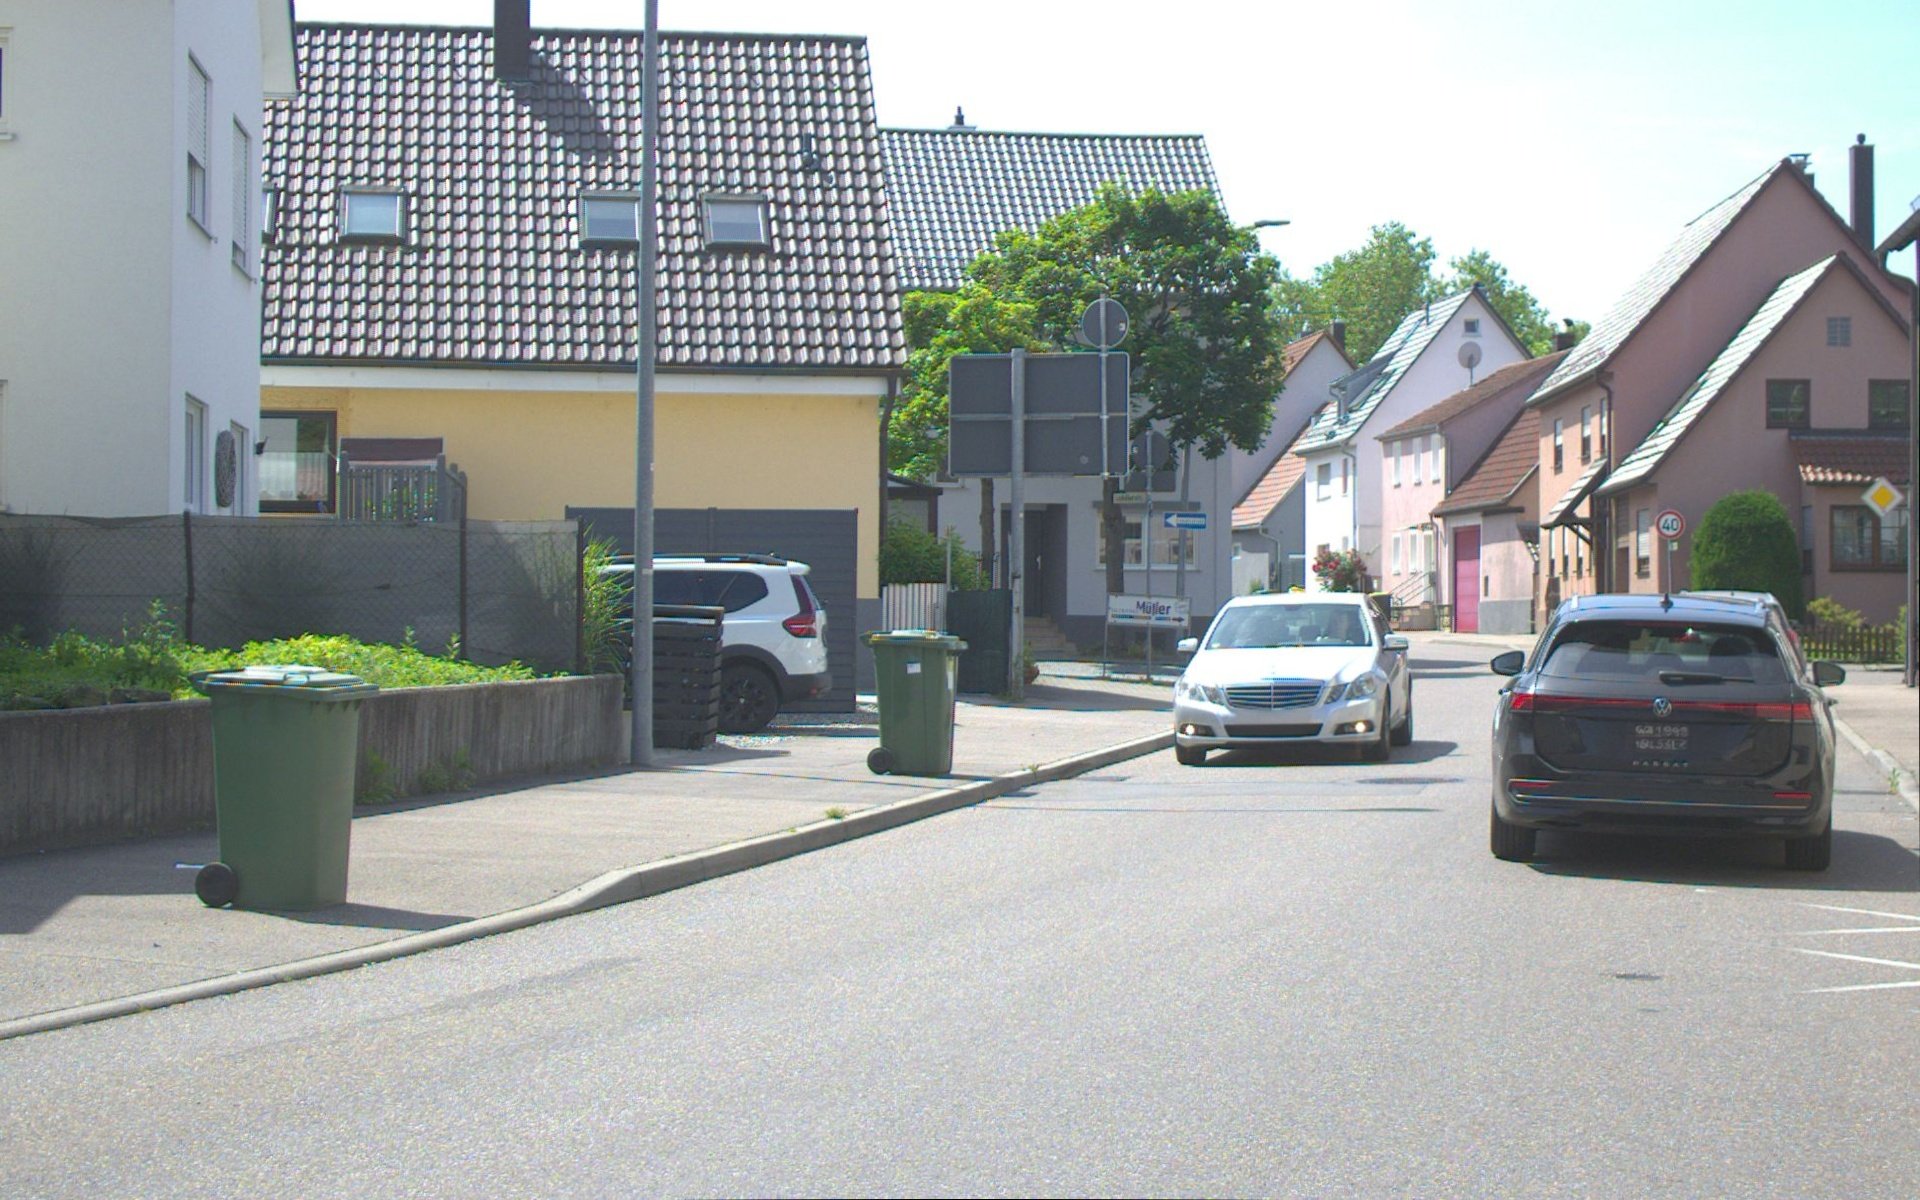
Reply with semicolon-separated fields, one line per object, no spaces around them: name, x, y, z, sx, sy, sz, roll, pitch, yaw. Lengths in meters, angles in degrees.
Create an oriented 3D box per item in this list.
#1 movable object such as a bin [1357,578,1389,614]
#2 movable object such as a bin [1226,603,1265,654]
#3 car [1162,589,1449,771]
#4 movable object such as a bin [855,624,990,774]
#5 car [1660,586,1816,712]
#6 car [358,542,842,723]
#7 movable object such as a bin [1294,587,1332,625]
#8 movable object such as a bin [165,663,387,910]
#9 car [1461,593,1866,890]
movable object such as a bin;12.399;-0.116;103.203;0.678;1.046;0.835;-4;1;-11
movable object such as a bin;5.959;0.592;71.735;0.753;1.056;0.679;1;1;0
car;3.180;0.662;30.837;1.956;1.481;4.456;-1;0;13
movable object such as a bin;-0.279;0.733;25.889;0.826;1.073;0.817;1;1;13
car;9.765;0.575;43.366;1.786;1.437;4.335;1;1;12
car;-3.373;0.300;32.898;4.401;1.617;2.000;1;0;0
movable object such as a bin;10.686;0.184;104.161;0.875;1.071;0.873;-4;1;-11
movable object such as a bin;-3.047;0.819;15.358;0.791;1.054;0.651;0;0;9
car;4.092;0.691;19.431;1.843;1.415;4.678;1;1;16
